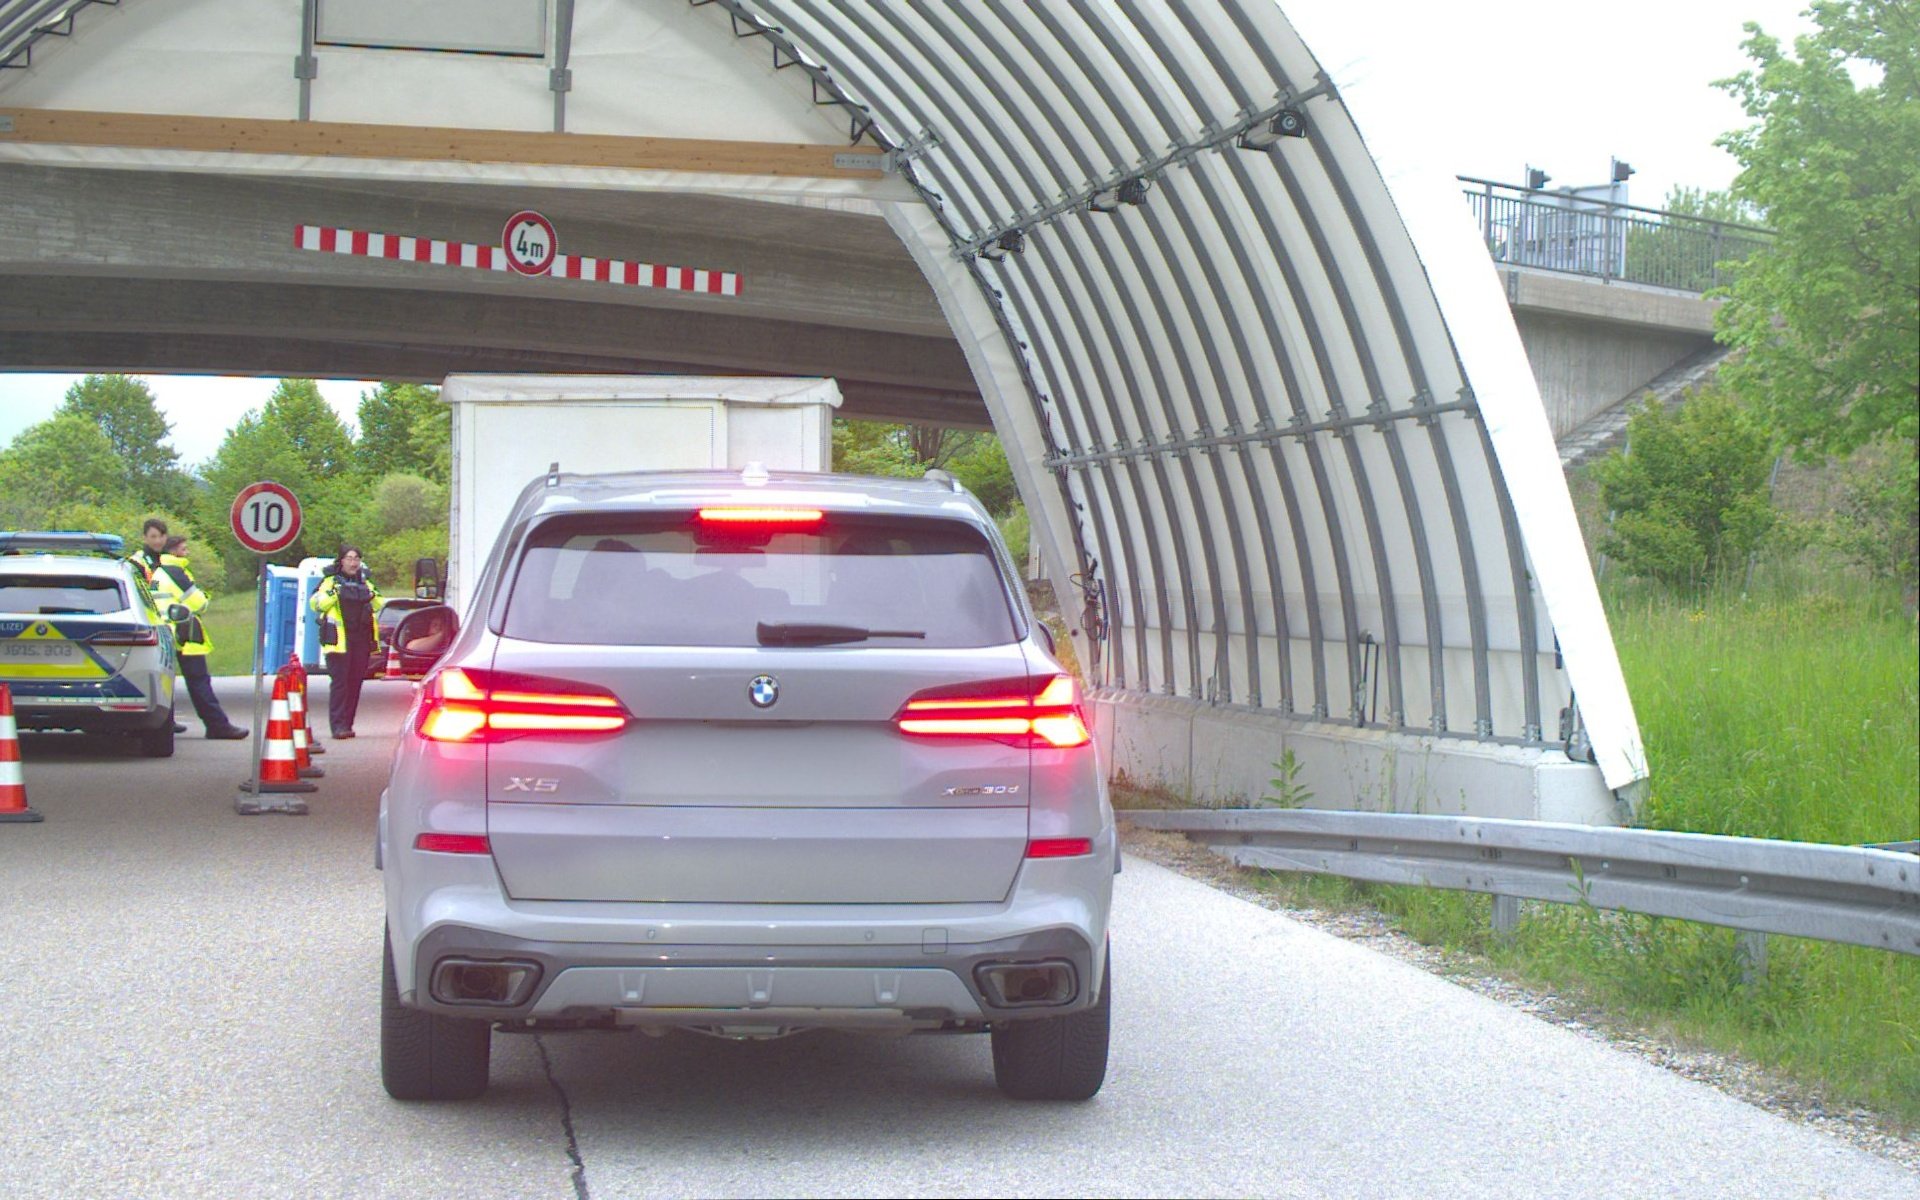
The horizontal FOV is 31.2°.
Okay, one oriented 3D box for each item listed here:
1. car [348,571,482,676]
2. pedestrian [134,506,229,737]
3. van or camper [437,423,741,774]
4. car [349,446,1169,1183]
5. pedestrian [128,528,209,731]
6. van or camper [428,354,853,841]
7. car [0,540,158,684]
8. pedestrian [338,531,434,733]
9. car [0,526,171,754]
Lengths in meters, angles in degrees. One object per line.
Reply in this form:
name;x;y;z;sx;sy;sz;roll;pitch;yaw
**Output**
car;-9.329;0.367;58.646;1.993;1.716;3.897;0;0;-13
pedestrian;-6.557;0.174;28.932;0.749;1.912;0.763;0;0;-15
van or camper;-3.081;-0.030;27.477;2.103;2.510;5.552;0;0;-9
car;-0.788;0.494;10.338;1.993;1.759;4.001;0;0;-9
pedestrian;-6.906;0.250;30.017;0.609;1.748;0.666;0;0;-6
van or camper;-2.175;-0.042;21.401;2.229;2.543;6.612;0;0;-9
car;-14.064;0.156;48.944;4.807;2.007;1.840;0;0;7
pedestrian;-4.935;0.269;29.610;0.779;1.716;0.757;0;0;-7
car;-7.160;0.275;26.747;1.877;1.641;4.001;0;0;-15
